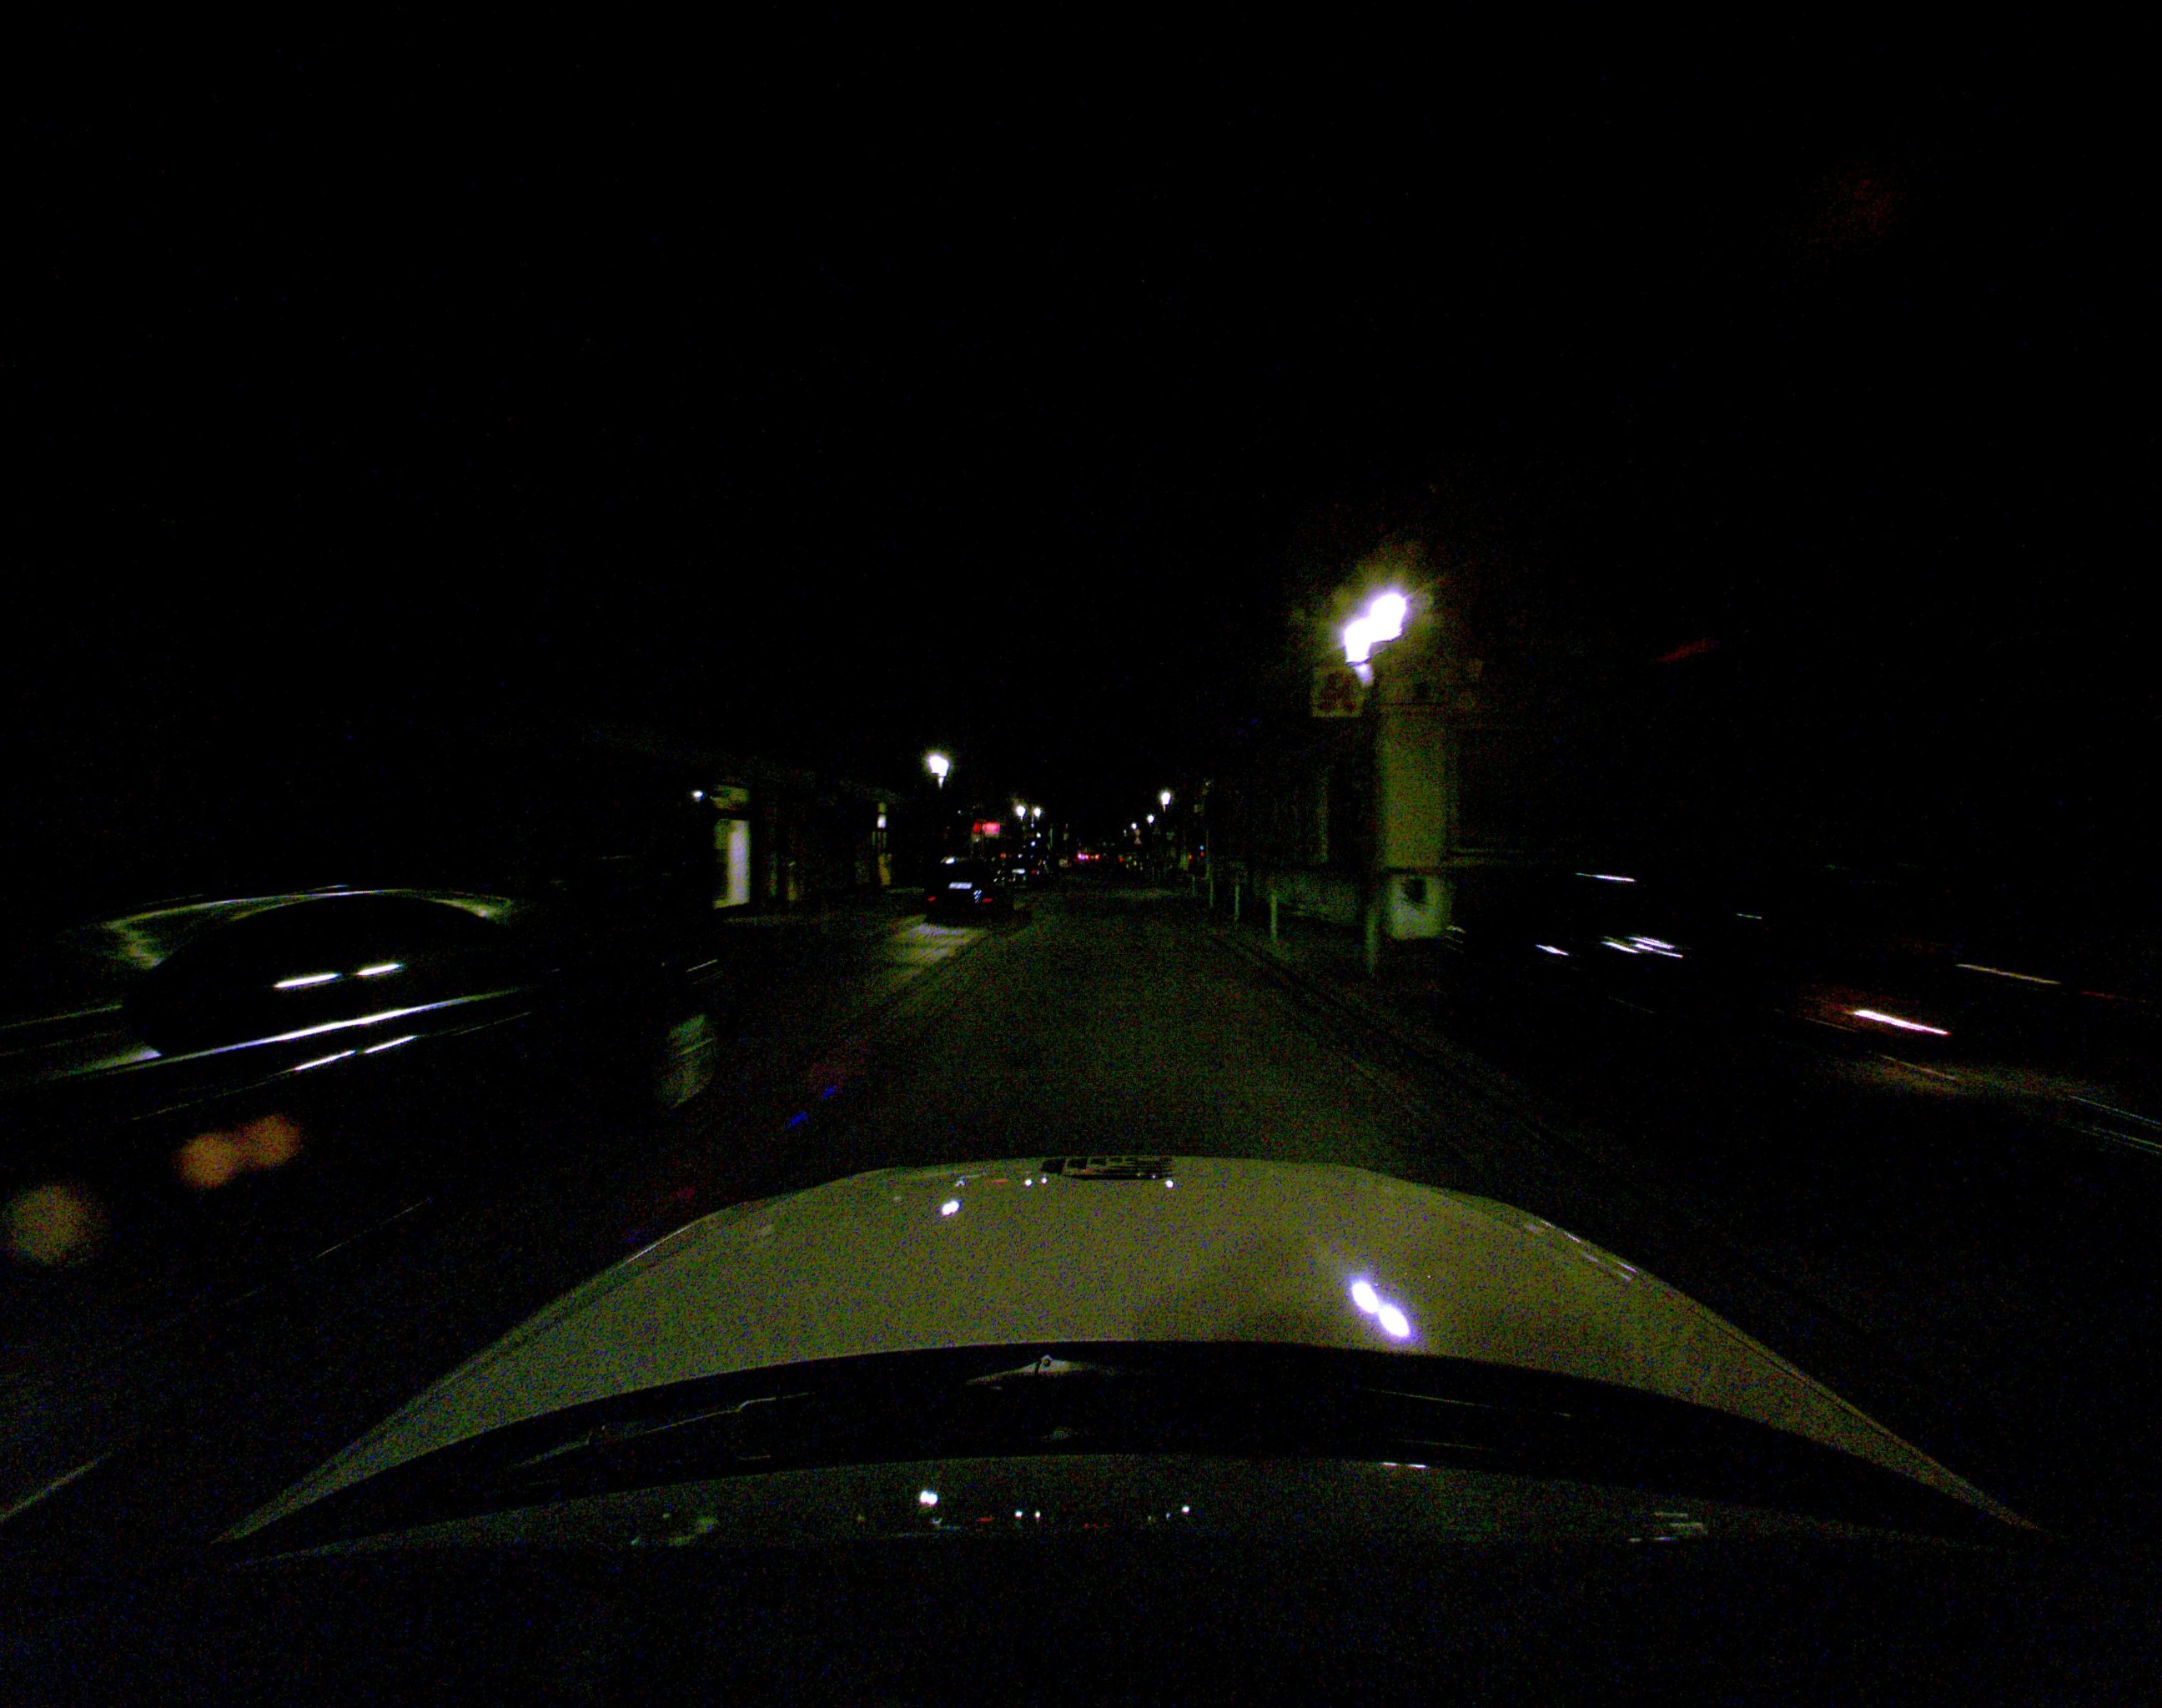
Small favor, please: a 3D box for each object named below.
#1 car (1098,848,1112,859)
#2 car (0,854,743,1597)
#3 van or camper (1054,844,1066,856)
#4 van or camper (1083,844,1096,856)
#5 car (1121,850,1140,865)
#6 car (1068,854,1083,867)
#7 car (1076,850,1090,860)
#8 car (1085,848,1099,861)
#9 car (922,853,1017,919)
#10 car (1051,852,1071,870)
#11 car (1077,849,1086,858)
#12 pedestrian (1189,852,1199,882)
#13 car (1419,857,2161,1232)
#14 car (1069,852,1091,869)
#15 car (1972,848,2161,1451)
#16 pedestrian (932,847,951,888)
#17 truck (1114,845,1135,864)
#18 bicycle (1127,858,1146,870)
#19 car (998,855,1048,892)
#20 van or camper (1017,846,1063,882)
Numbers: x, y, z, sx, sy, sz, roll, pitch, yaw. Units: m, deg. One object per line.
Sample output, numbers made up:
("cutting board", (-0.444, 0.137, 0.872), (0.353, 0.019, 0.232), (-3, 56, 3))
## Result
("car", (4.004, -0.082, 138.292), (1.812, 1.828, 4.339), (-1, 0, -5))
("car", (-3.096, 0.754, 2.880), (1.839, 1.464, 4.622), (1, 0, 0))
("van or camper", (-3.794, -0.747, 145.160), (1.864, 2.011, 4.253), (1, 0, -6))
("van or camper", (1.619, -0.826, 164.488), (2.106, 2.317, 4.253), (-2, 1, -6))
("car", (5.275, 0.406, 87.170), (1.782, 1.491, 4.061), (-2, 0, 2))
("car", (-0.706, 0.837, 107.229), (1.671, 1.543, 4.223), (0, 0, -5))
("car", (0.328, 0.132, 134.300), (1.990, 1.702, 3.994), (0, 0, -4))
("car", (1.595, 0.071, 119.280), (1.987, 1.823, 3.999), (0, 0, 0))
("car", (-2.748, 0.746, 21.036), (1.791, 1.478, 4.321), (2, 0, 0))
("car", (-1.768, 0.611, 73.625), (1.723, 1.476, 3.846), (1, 0, 0))
("car", (0.129, -0.188, 183.105), (1.836, 1.901, 3.840), (-1, 0, -4))
("pedestrian", (5.834, 0.684, 42.062), (0.498, 1.547, 0.481), (0, 0, 7))
("car", (3.715, 0.749, 5.174), (1.653, 1.377, 4.108), (-2, 0, 4))
("car", (-0.083, 0.604, 79.212), (2.013, 1.488, 5.007), (2, 0, 0))
("car", (3.358, 0.703, 0.116), (1.745, 1.464, 4.472), (-2, 0, 4))
("pedestrian", (-6.011, 0.571, 35.122), (0.619, 1.745, 1.023), (0, 0, 1))
("truck", (5.410, 0.050, 102.680), (2.328, 2.312, 5.781), (-1, 0, 0))
("bicycle", (5.132, 0.898, 75.697), (1.750, 1.062, 0.346), (-1, 0, -2))
("car", (-2.429, 0.798, 35.220), (1.710, 1.413, 4.387), (1, 0, 2))
("van or camper", (-2.335, 0.532, 47.298), (1.836, 1.942, 5.163), (0, 0, 6))
